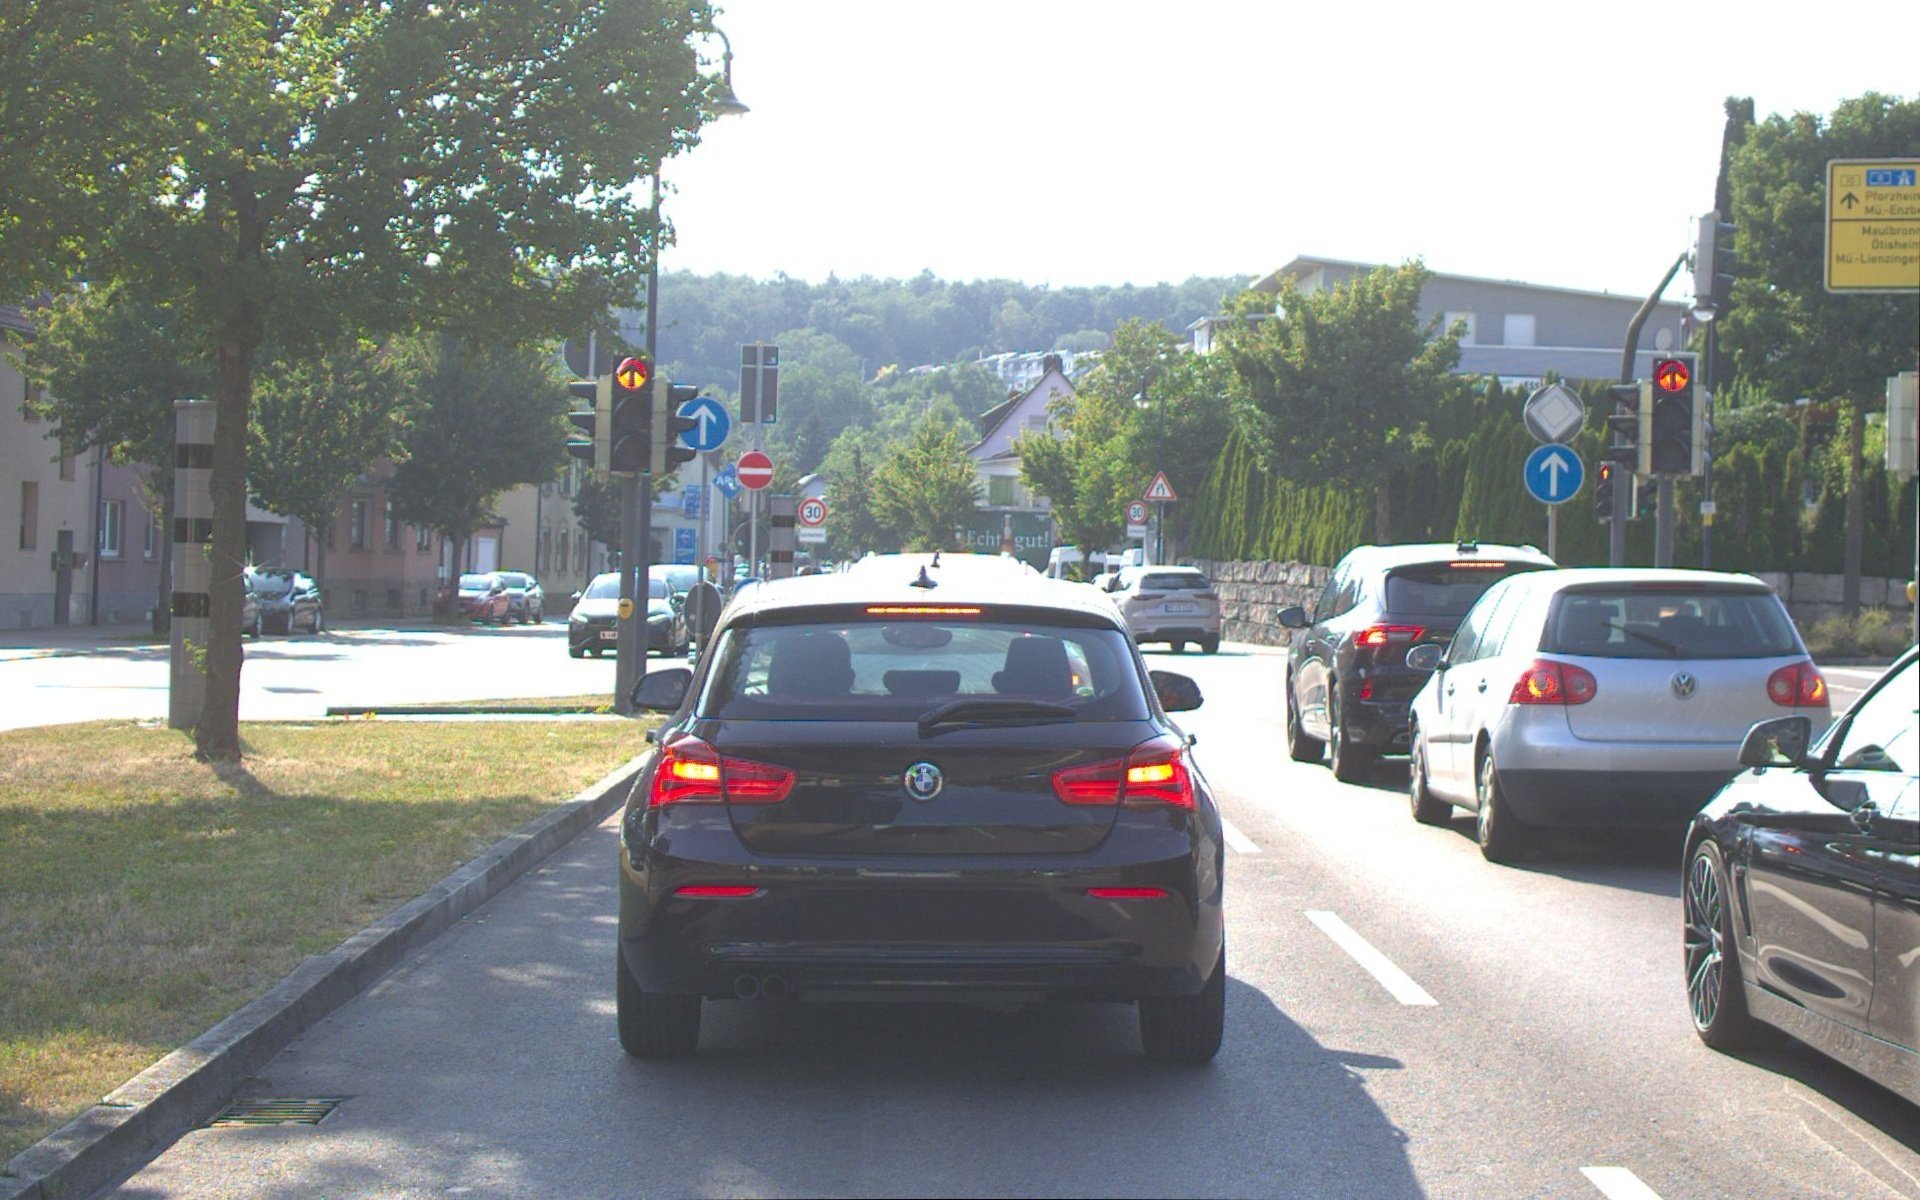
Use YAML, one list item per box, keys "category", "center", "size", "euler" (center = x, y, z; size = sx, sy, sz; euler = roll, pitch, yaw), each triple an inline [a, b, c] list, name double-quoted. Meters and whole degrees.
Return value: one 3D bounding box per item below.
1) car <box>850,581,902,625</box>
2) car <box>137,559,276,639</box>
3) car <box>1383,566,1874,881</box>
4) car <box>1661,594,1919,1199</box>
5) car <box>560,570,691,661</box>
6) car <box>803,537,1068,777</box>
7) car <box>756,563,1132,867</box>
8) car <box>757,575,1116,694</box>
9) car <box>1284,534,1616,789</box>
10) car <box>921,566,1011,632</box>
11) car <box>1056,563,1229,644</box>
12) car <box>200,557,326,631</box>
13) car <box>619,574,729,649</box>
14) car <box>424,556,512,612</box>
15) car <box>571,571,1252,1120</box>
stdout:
- category: "car"
  center: [-3.220, 0.111, 131.736]
  size: [1.924, 1.590, 4.000]
  euler: [1, 1, -1]
- category: "car"
  center: [-15.667, -0.049, 71.685]
  size: [1.924, 1.590, 4.000]
  euler: [1, 1, 1]
- category: "car"
  center: [3.420, 0.561, 18.384]
  size: [1.816, 1.441, 4.347]
  euler: [1, 1, 1]
- category: "car"
  center: [3.136, 0.714, 8.840]
  size: [1.816, 1.384, 4.347]
  euler: [1, 1, 1]
- category: "car"
  center: [-5.730, 0.241, 59.284]
  size: [1.766, 1.453, 4.000]
  euler: [1, 1, 1]
- category: "car"
  center: [-0.142, 0.362, 25.866]
  size: [1.816, 1.635, 4.242]
  euler: [1, 1, 1]
- category: "car"
  center: [-0.050, 0.539, 18.910]
  size: [1.816, 1.446, 4.242]
  euler: [1, 1, 1]
- category: "car"
  center: [-0.310, 0.417, 42.394]
  size: [4.175, 1.382, 1.651]
  euler: [1, 1, -11]
- category: "car"
  center: [3.439, 0.377, 24.859]
  size: [1.816, 1.660, 4.347]
  euler: [1, 1, 1]
- category: "car"
  center: [0.127, -0.051, 90.562]
  size: [1.890, 1.696, 4.524]
  euler: [0, 1, -6]
- category: "car"
  center: [3.545, 0.049, 67.698]
  size: [1.861, 1.480, 4.661]
  euler: [1, 1, -17]
- category: "car"
  center: [-15.561, -0.158, 76.971]
  size: [1.924, 1.590, 4.000]
  euler: [1, 1, 1]
- category: "car"
  center: [-5.505, 0.198, 66.534]
  size: [1.693, 1.349, 4.000]
  euler: [1, 1, 1]
- category: "car"
  center: [-14.542, -0.502, 101.784]
  size: [1.924, 1.590, 4.000]
  euler: [1, 1, 1]
- category: "car"
  center: [-0.101, 0.631, 11.285]
  size: [1.790, 1.410, 4.347]
  euler: [1, 1, 1]
